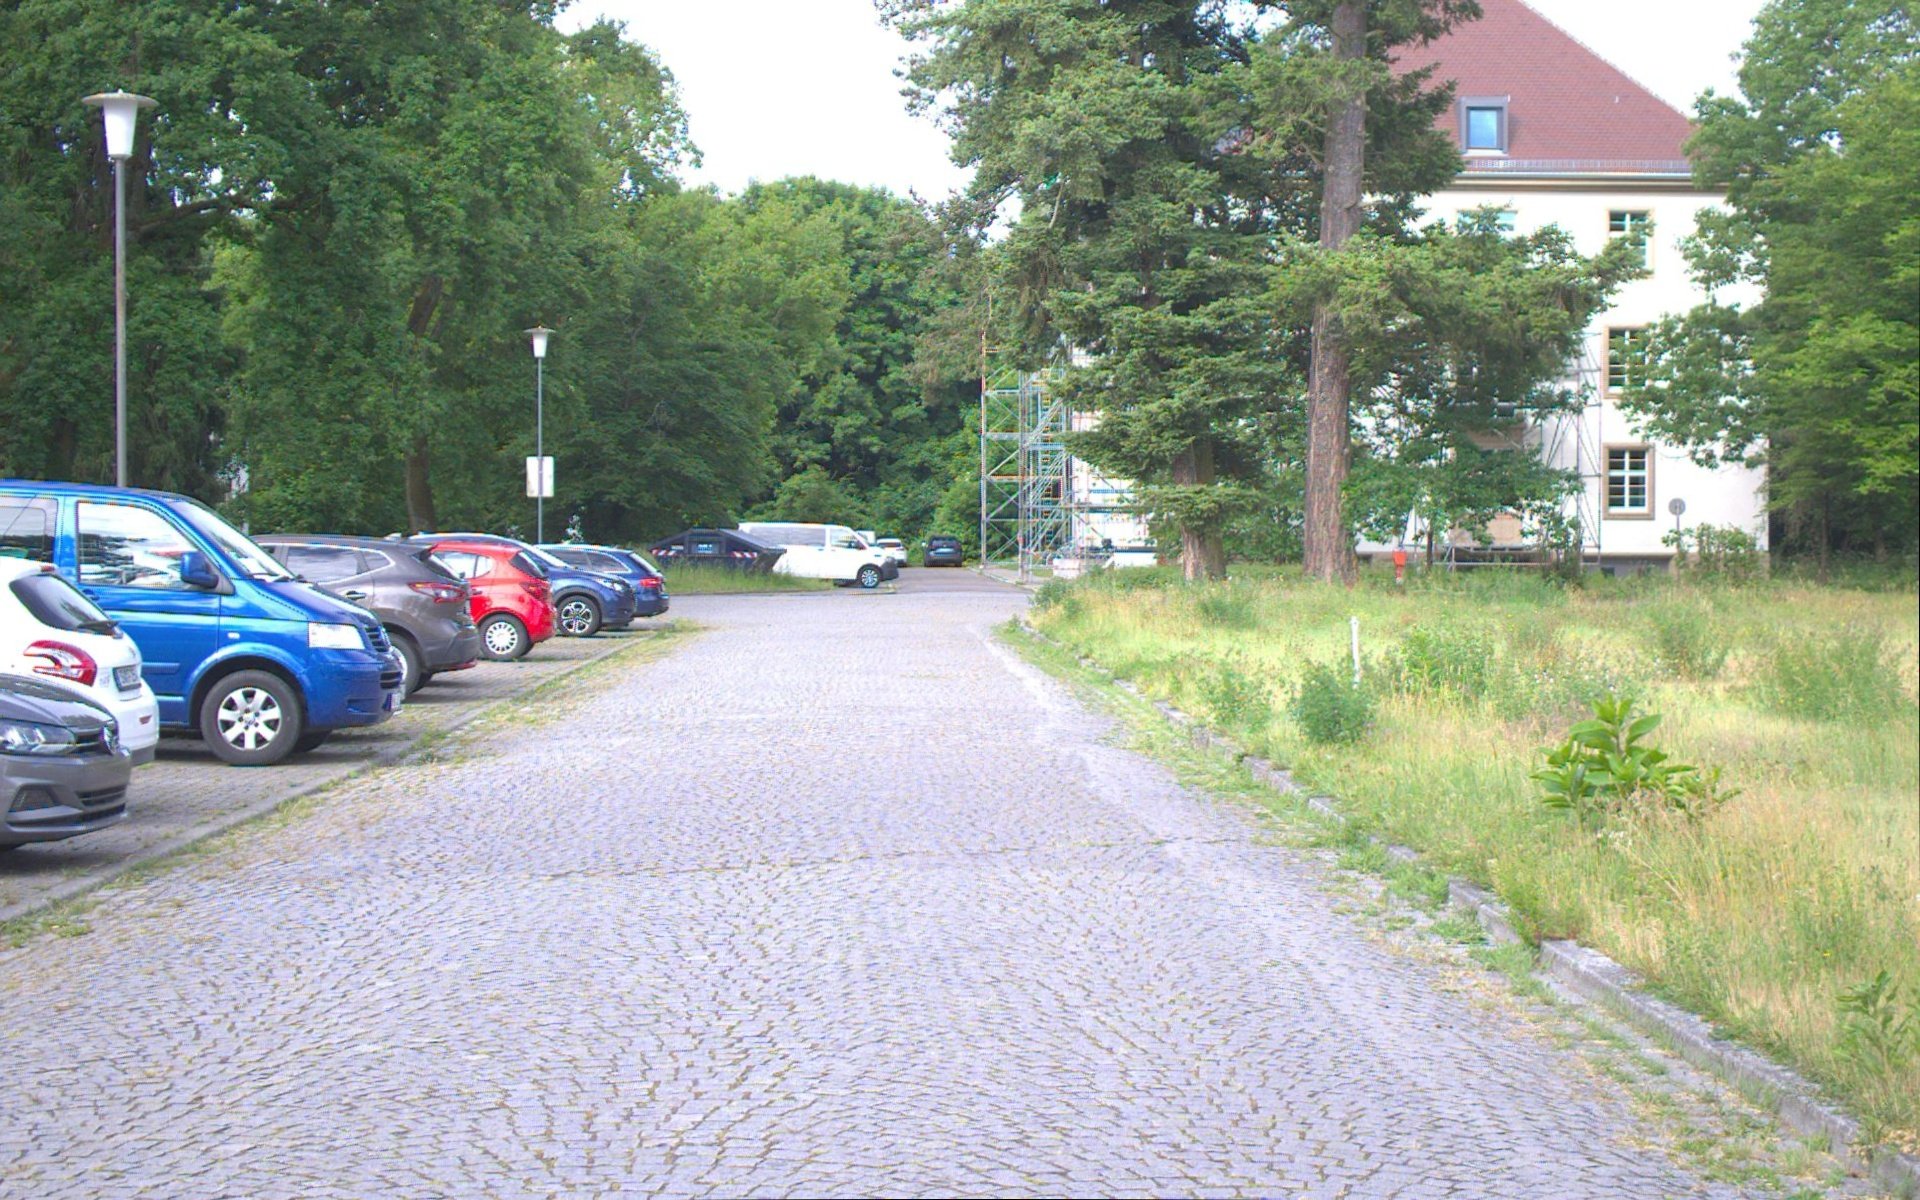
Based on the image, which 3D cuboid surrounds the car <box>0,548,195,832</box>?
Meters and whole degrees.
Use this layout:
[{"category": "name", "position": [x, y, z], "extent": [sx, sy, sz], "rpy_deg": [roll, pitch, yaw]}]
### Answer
[{"category": "car", "position": [-6.526, 0.451, 19.383], "extent": [4.005, 1.496, 1.843], "rpy_deg": [1, 1, 0]}]

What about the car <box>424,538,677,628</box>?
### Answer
[{"category": "car", "position": [-6.980, -0.300, 58.811], "extent": [4.071, 1.462, 1.626], "rpy_deg": [1, 1, 2]}]

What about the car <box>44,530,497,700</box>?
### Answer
[{"category": "car", "position": [-6.660, 0.125, 33.551], "extent": [4.067, 1.570, 1.955], "rpy_deg": [1, 1, -2]}]

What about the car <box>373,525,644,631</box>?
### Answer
[{"category": "car", "position": [-7.068, -0.359, 54.110], "extent": [4.071, 1.598, 1.788], "rpy_deg": [1, 1, -3]}]

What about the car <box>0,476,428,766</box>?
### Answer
[{"category": "car", "position": [-6.319, 0.110, 24.682], "extent": [4.709, 1.974, 2.038], "rpy_deg": [1, 1, -2]}]

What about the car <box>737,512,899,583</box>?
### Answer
[{"category": "car", "position": [-4.457, -1.640, 107.823], "extent": [4.977, 2.065, 2.052], "rpy_deg": [1, -1, -2]}]

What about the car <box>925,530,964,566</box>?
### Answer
[{"category": "car", "position": [-0.777, -2.613, 174.257], "extent": [1.790, 1.714, 4.061], "rpy_deg": [0, 0, -3]}]

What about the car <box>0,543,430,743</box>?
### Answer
[{"category": "car", "position": [-6.199, 0.317, 27.275], "extent": [3.793, 1.488, 1.726], "rpy_deg": [1, 1, -3]}]

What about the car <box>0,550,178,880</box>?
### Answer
[{"category": "car", "position": [-6.113, 0.490, 16.523], "extent": [4.304, 1.475, 1.731], "rpy_deg": [1, 1, 0]}]

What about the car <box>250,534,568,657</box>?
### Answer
[{"category": "car", "position": [-6.987, -0.070, 43.862], "extent": [3.815, 1.484, 1.788], "rpy_deg": [1, 1, -2]}]

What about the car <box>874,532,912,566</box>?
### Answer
[{"category": "car", "position": [-3.394, -2.571, 173.893], "extent": [1.790, 1.630, 4.061], "rpy_deg": [0, 0, -3]}]
